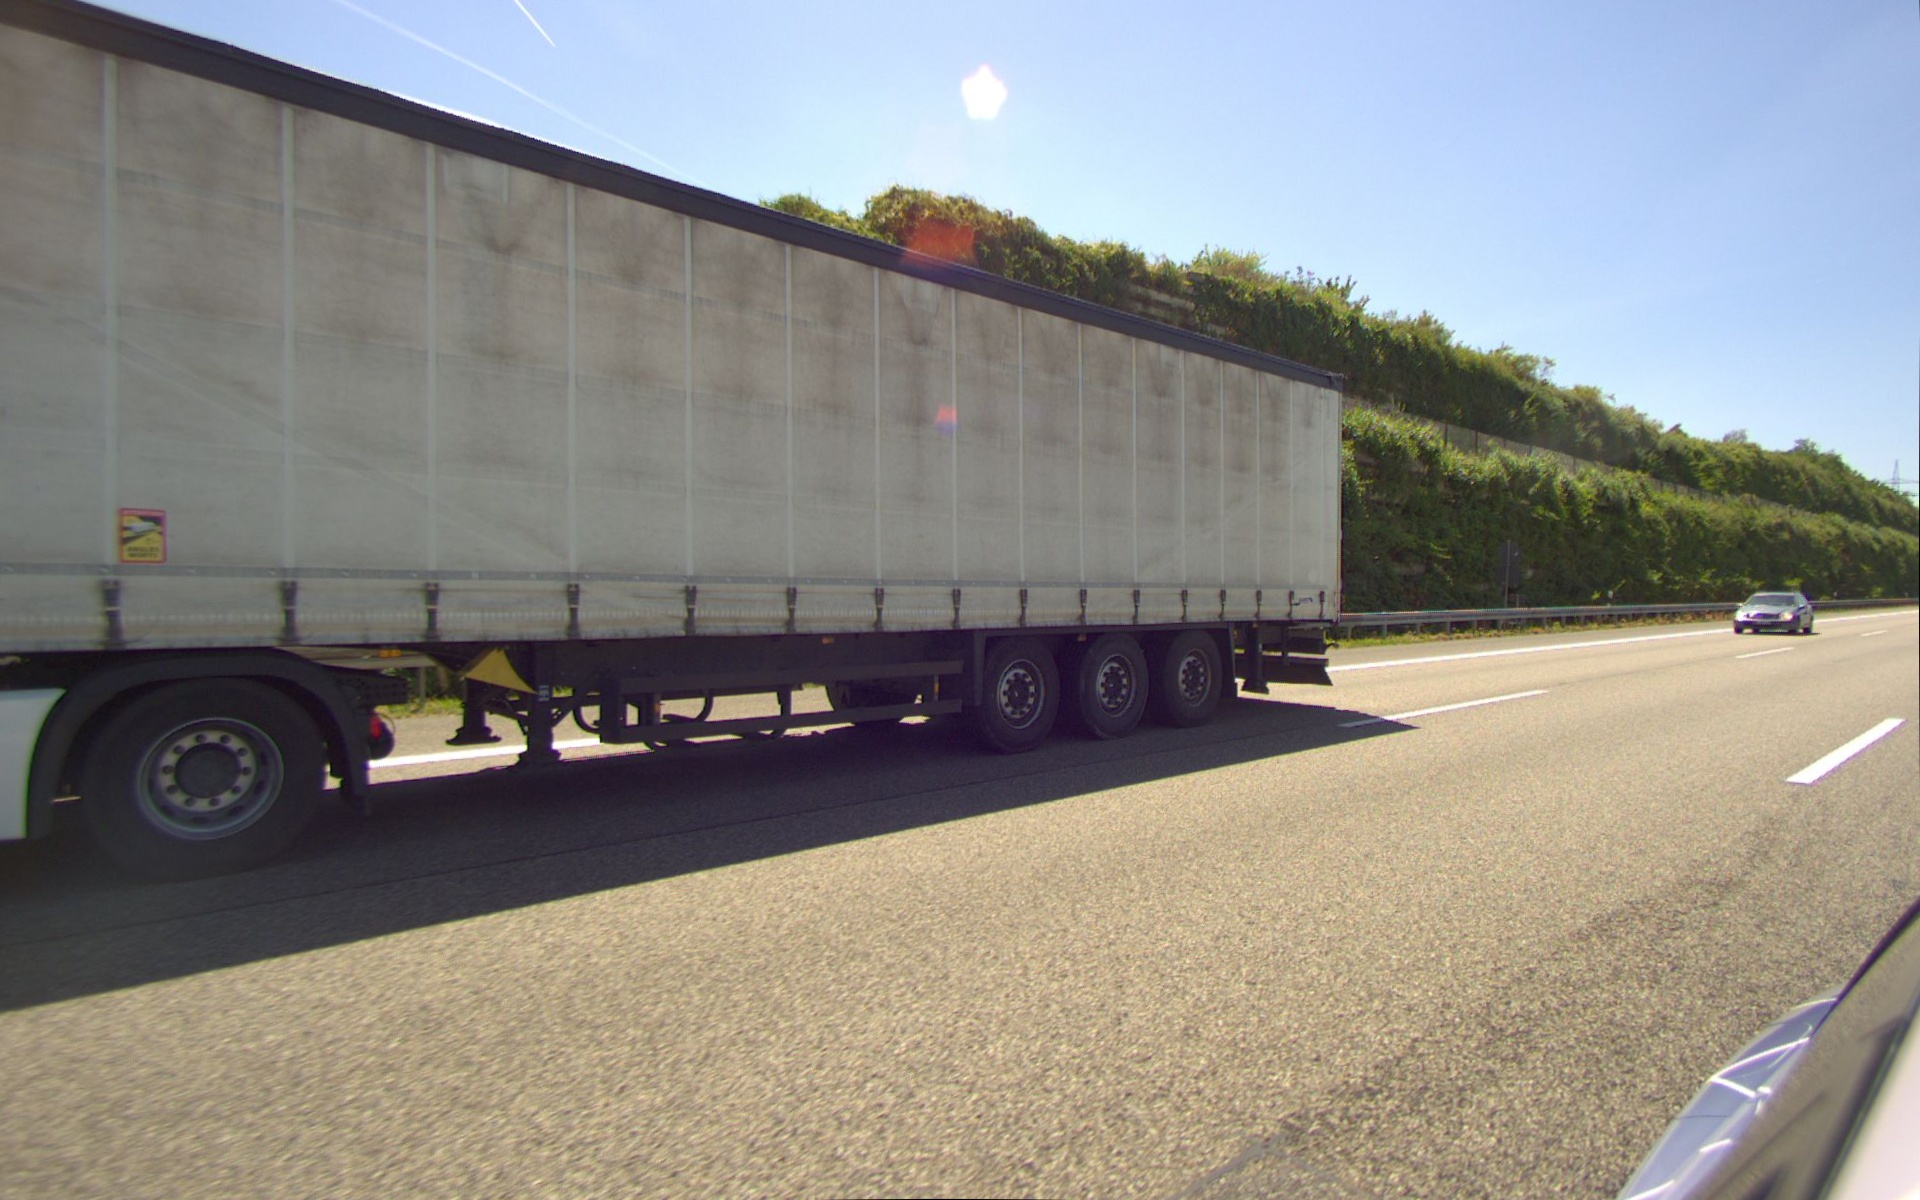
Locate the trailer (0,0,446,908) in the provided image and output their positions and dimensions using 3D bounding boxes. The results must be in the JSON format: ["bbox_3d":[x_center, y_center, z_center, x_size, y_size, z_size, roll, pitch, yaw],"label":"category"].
[{"bbox_3d":[-6.203,-0.755,4.370,6.671,4.153,2.718,-1,2,-41],"label":"trailer"}]

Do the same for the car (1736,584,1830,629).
[{"bbox_3d":[28.466,0.185,34.947,4.480,1.429,1.838,0,1,-42],"label":"car"}]

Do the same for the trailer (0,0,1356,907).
[{"bbox_3d":[-0.949,-0.836,9.040,12.961,4.153,2.733,-1,2,-42],"label":"trailer"}]
